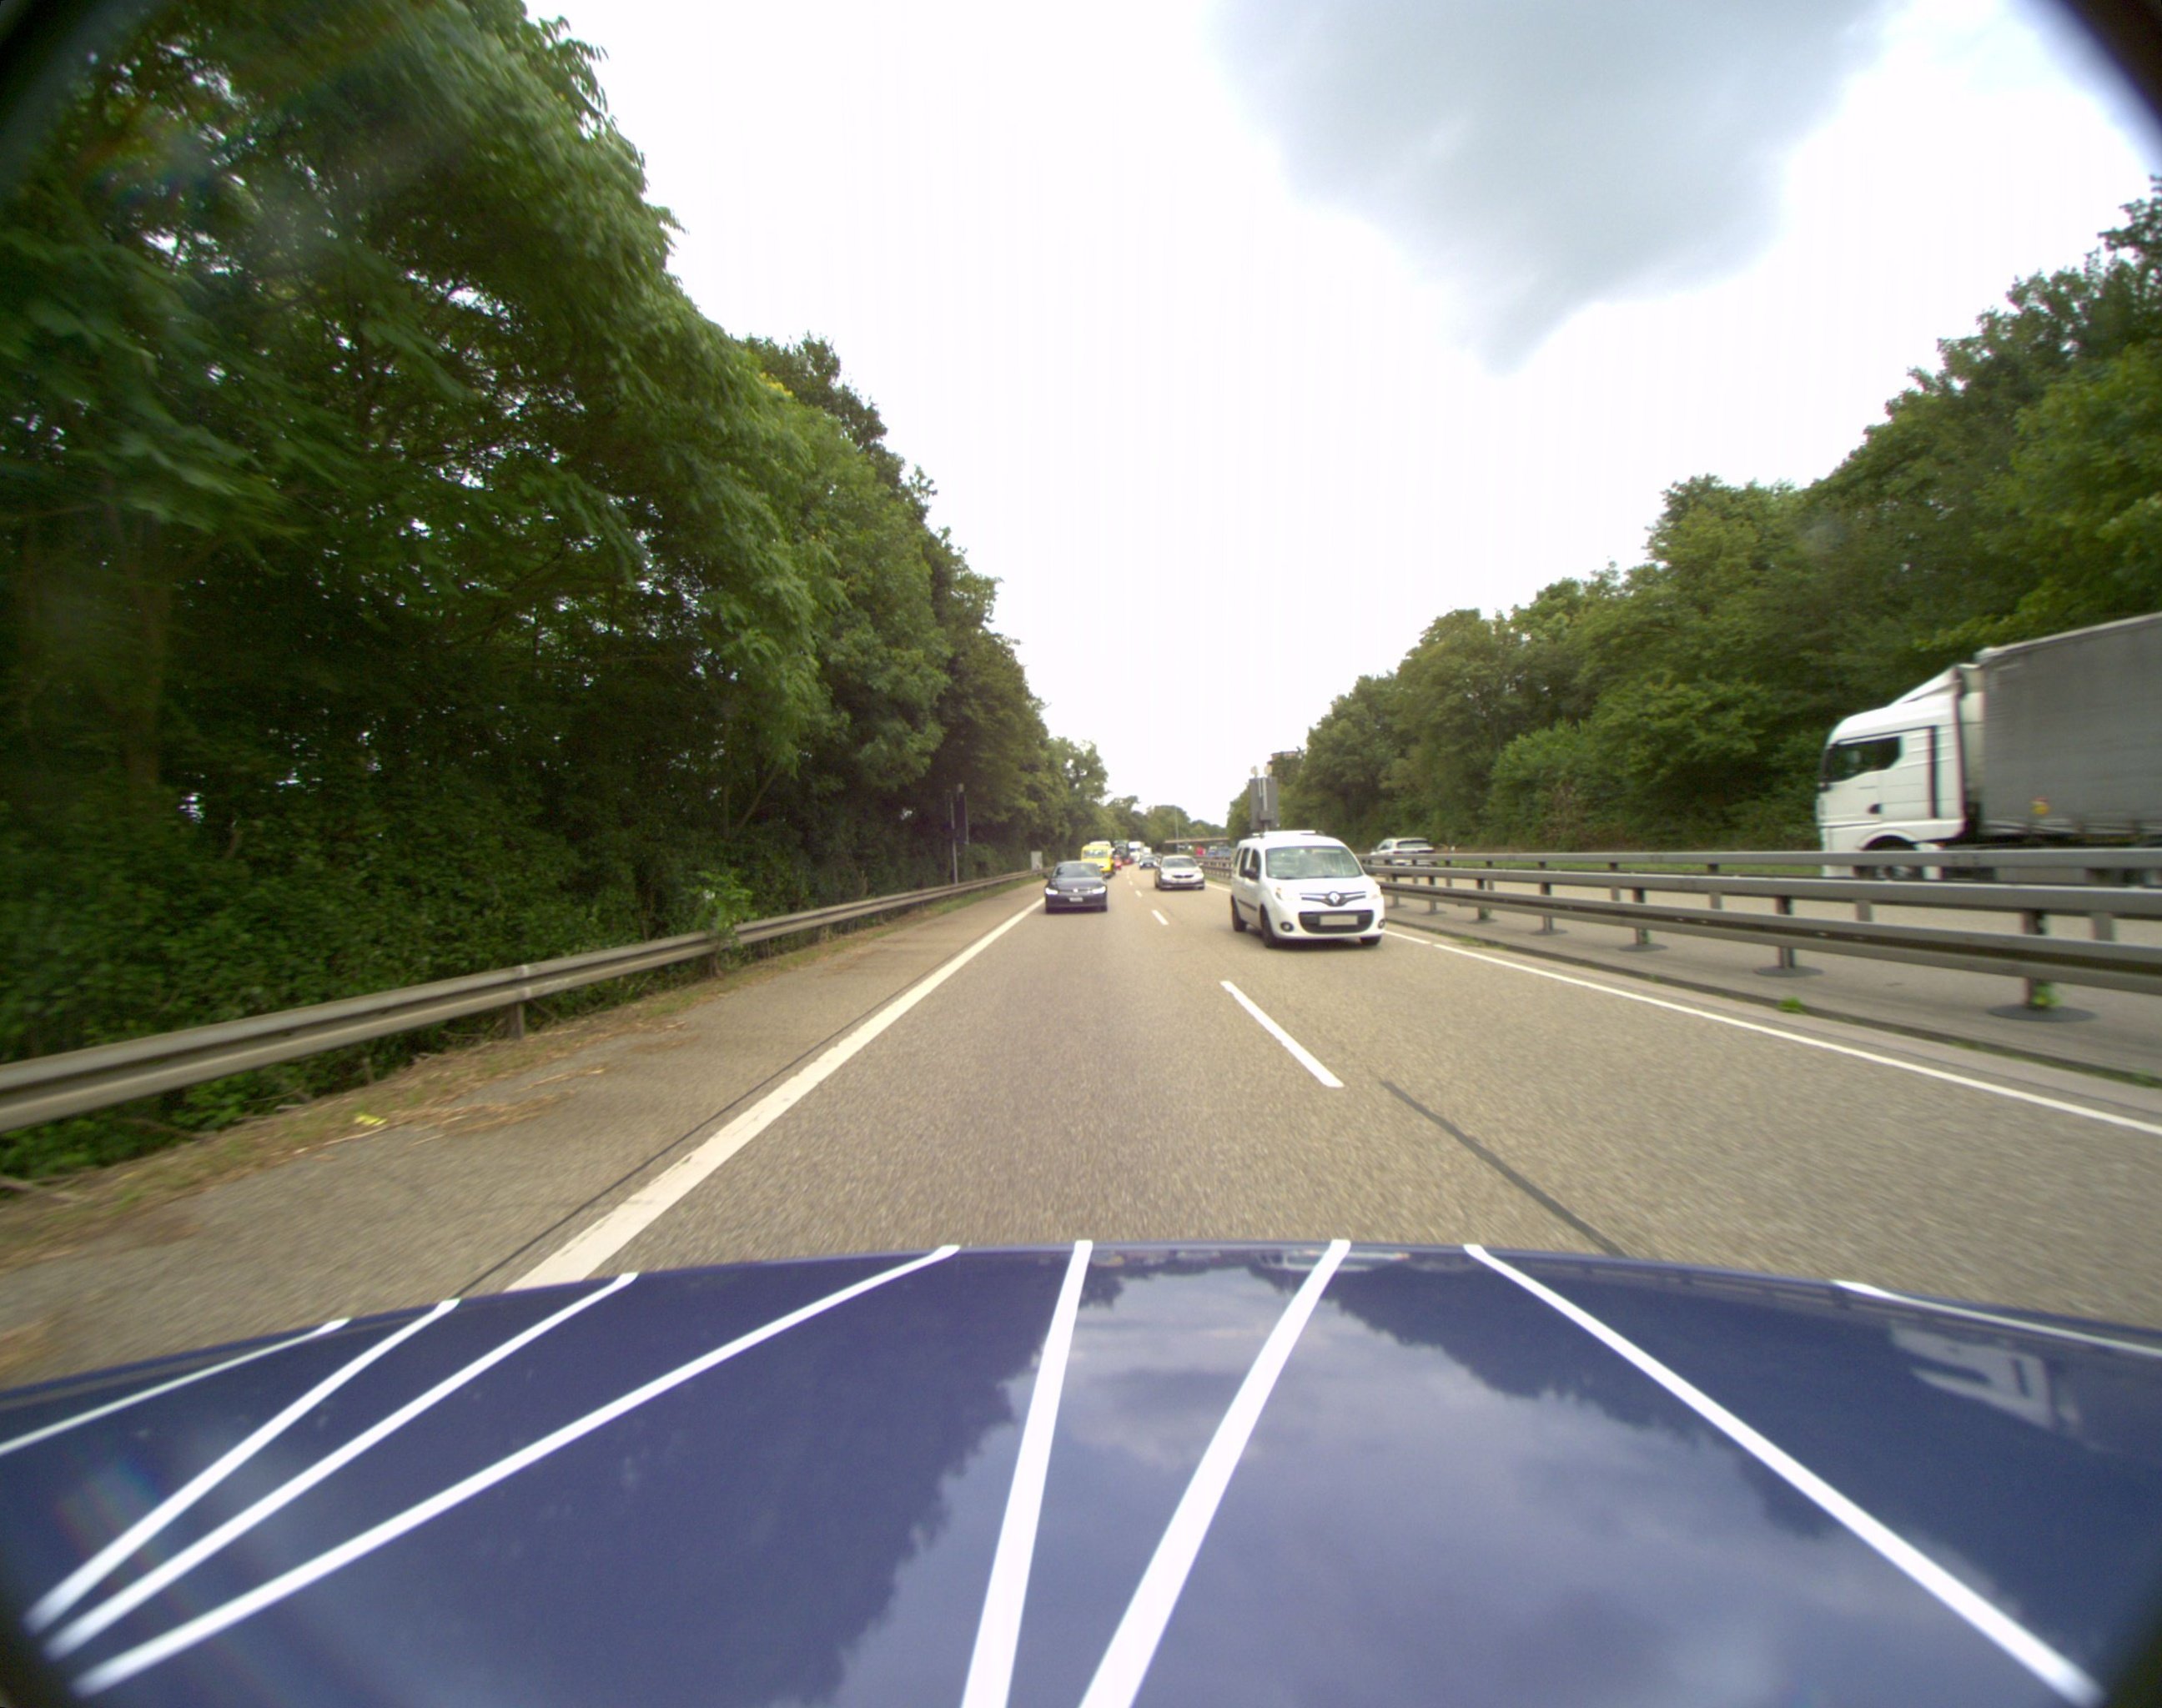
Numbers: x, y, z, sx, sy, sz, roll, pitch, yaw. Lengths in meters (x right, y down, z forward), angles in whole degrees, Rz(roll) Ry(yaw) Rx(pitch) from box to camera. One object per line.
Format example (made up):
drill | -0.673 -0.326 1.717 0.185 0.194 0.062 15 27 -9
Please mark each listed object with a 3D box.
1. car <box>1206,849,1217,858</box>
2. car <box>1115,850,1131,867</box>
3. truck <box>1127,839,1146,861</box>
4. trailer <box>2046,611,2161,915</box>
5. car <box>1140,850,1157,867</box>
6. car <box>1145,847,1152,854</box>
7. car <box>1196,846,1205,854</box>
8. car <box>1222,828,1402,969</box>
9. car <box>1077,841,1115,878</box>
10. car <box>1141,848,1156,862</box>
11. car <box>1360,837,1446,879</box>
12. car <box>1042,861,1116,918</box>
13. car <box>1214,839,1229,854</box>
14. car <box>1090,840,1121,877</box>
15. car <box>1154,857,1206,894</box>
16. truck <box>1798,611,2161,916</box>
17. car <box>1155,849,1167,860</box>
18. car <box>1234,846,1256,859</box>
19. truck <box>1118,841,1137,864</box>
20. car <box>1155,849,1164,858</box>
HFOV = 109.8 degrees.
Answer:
car | 24.437 -0.095 142.434 1.698 1.458 4.090 -1 0 4
car | 4.545 0.503 81.745 1.677 1.763 3.938 -1 0 4
truck | 11.655 -0.848 158.570 3.098 4.462 12.215 -1 0 7
trailer | 15.690 -1.217 4.871 2.670 4.022 12.871 -1 0 0
car | 7.050 0.450 79.769 1.677 1.763 3.938 -1 0 4
car | 16.829 -0.846 189.017 1.680 1.840 4.002 -1 0 6
car | 31.493 -1.070 200.505 2.070 2.243 5.378 -1 0 9
car | 3.745 0.634 13.166 1.821 1.993 4.423 -1 0 1
car | 1.077 0.357 51.424 2.247 2.334 5.225 -1 0 4
car | 8.343 0.115 94.226 1.677 1.763 3.938 -1 0 4
car | 13.007 0.154 30.982 1.796 1.540 4.129 -1 0 1
car | 0.045 0.973 22.674 1.800 1.398 4.641 -1 0 5
car | 22.547 -1.198 121.990 1.939 2.308 5.306 -1 0 5
car | 2.003 0.288 60.345 2.207 2.732 6.169 -1 0 4
car | 4.191 0.891 32.717 1.772 1.416 4.198 -1 0 1
truck | 15.694 -1.236 12.521 2.699 4.039 5.322 -1 0 0
car | 13.664 0.037 129.693 1.815 1.840 4.002 -1 0 6
car | 19.999 -0.192 92.942 1.998 1.472 4.132 -1 0 4
truck | 7.352 -0.270 119.923 2.547 3.564 6.460 -1 0 7
car | 16.771 -0.167 161.485 1.815 1.840 4.002 -1 0 6
